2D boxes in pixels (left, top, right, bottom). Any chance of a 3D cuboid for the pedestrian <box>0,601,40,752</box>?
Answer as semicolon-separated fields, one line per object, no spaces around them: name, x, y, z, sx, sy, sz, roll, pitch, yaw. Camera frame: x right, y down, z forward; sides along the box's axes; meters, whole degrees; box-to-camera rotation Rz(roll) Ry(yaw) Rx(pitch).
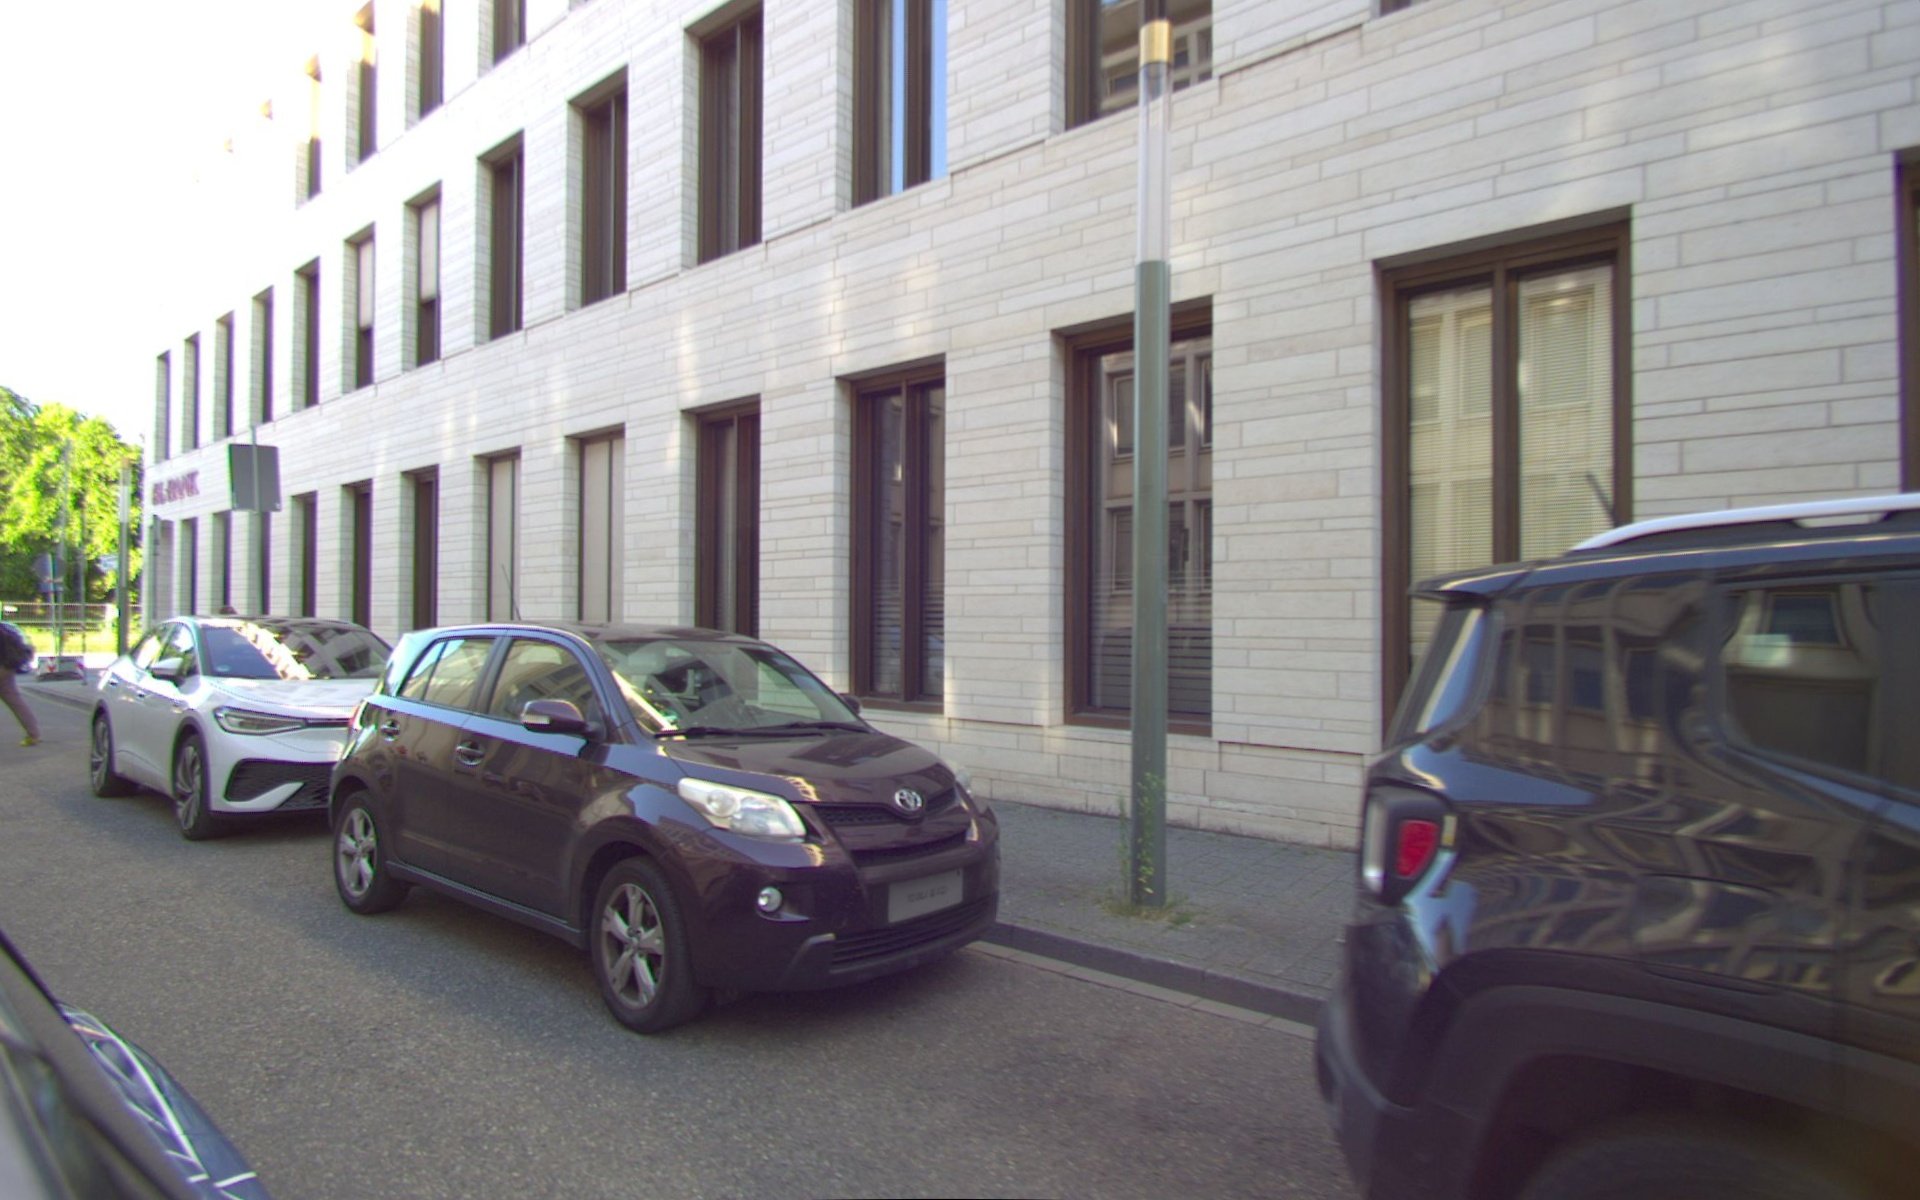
pedestrian;-11.724;0.914;12.290;0.575;1.803;0.635;0;-4;39

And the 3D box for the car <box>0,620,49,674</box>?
car;-27.721;1.315;27.717;1.968;1.471;4.444;0;0;-8

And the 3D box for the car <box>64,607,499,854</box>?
car;-5.851;0.908;8.511;4.442;1.553;1.804;-2;-3;39

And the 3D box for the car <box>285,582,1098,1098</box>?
car;-1.606;0.783;5.116;4.258;1.553;1.805;-2;-2;39

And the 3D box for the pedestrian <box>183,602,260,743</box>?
pedestrian;-9.851;0.935;13.500;0.816;1.803;0.637;0;-1;40

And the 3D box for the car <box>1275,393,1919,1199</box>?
car;2.689;0.614;1.290;4.013;1.728;1.804;-2;-4;39
